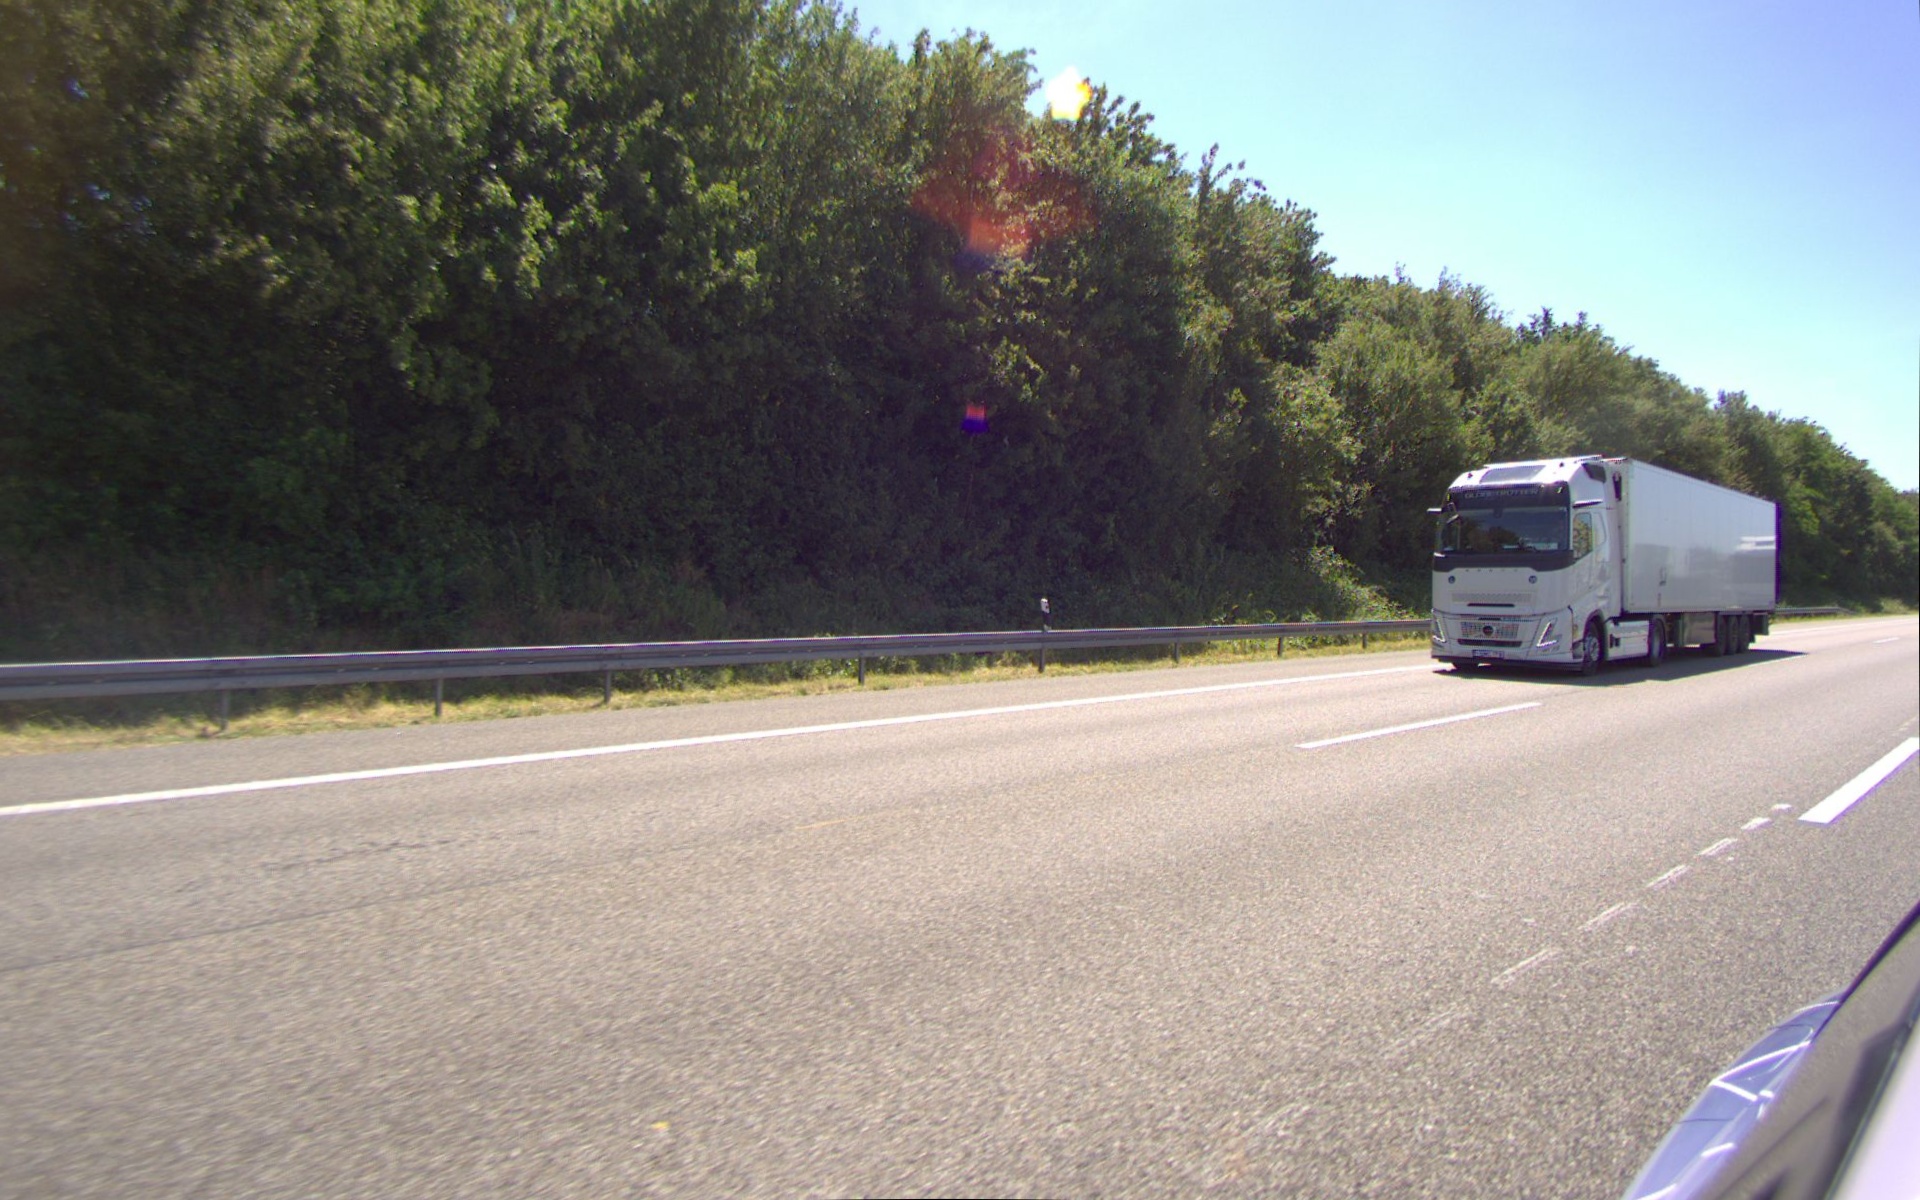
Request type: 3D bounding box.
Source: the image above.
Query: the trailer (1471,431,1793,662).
[{"bbox_3d":[16.706,-1.048,24.367,13.595,4.277,3.045,0,1,-41],"label":"trailer"}]

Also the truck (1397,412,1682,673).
[{"bbox_3d":[11.388,-0.977,19.675,5.943,4.268,3.052,0,1,-41],"label":"truck"}]
